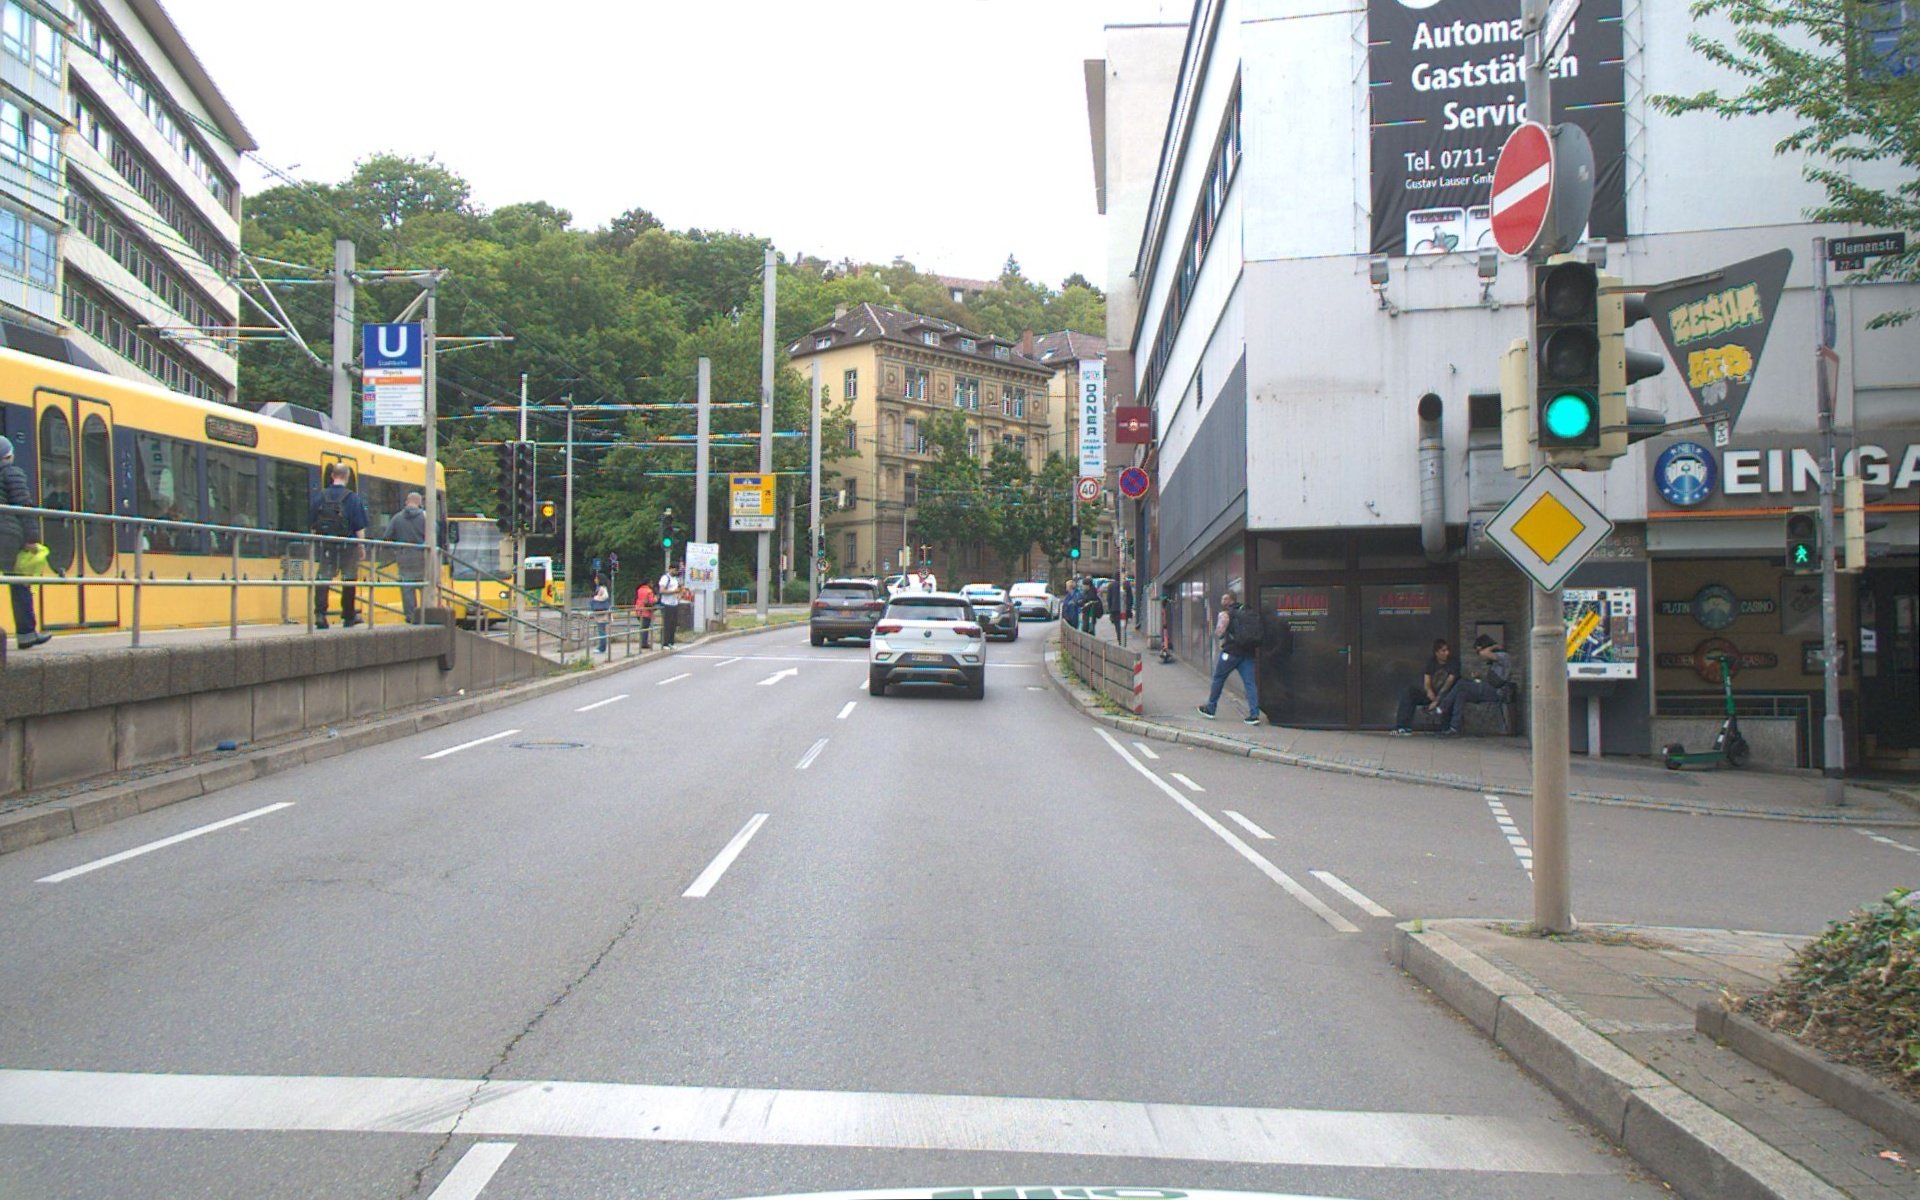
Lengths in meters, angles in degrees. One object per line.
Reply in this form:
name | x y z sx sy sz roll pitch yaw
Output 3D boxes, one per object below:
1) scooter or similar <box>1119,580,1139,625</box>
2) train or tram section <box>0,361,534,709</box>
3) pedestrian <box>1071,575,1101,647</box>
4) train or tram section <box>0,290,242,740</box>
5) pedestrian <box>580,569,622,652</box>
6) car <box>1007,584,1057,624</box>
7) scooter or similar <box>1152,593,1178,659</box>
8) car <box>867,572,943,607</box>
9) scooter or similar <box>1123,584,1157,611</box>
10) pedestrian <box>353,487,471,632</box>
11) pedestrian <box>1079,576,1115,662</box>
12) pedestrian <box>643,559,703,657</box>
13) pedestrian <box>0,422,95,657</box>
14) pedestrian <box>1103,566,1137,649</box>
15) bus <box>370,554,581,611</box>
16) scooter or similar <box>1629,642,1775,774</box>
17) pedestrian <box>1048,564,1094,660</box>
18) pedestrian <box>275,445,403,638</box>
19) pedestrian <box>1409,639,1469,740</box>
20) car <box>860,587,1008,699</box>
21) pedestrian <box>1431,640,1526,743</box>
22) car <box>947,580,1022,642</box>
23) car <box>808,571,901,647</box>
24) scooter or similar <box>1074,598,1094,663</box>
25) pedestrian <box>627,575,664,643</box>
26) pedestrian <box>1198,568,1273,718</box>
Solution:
scooter or similar | 5.636 0.081 55.145 0.654 1.501 1.179 0 0 6
train or tram section | -9.688 -0.916 25.443 2.823 3.727 14.473 -2 2 -2
pedestrian | 3.038 0.264 39.853 0.550 1.680 0.591 -5 0 3
train or tram section | -9.262 -0.589 11.245 2.824 3.727 14.227 -2 2 -2
pedestrian | -7.332 0.209 33.850 0.662 1.653 1.001 0 0 -2
car | 2.839 0.138 65.801 1.898 1.532 3.807 1 0 2
scooter or similar | 4.084 0.507 32.889 0.418 1.298 0.981 0 1 13
car | -3.479 -0.647 105.118 1.964 1.882 4.962 0 -3 42
scooter or similar | 8.009 -0.130 73.690 1.422 1.203 0.578 0 0 -25
pedestrian | -6.815 -0.491 20.640 1.094 1.710 1.041 0 -5 -1
pedestrian | 2.970 0.414 35.940 0.722 1.825 0.655 1 0 3
pedestrian | -6.377 0.187 36.751 0.945 2.103 1.032 -2 -4 18
pedestrian | -6.661 -0.417 11.671 0.762 1.612 0.665 0 0 -1
pedestrian | 3.608 0.157 37.315 0.711 1.840 0.654 1 0 3
bus | -27.482 -0.999 93.927 11.265 3.082 3.393 0 1 13
scooter or similar | 8.398 1.212 18.727 1.363 1.373 0.595 4 -1 -14
pedestrian | 2.491 0.265 37.272 0.927 2.098 0.779 3 0 3
pedestrian | -6.742 -0.604 18.033 0.910 2.004 1.233 0 -3 -1
pedestrian | 6.277 1.159 21.692 0.719 1.257 0.718 2 0 16
car | -0.325 0.609 25.875 1.897 1.594 4.048 1 0 5
pedestrian | 6.495 1.131 20.751 1.083 1.209 0.743 2 0 17
car | 0.733 0.292 46.617 1.863 1.601 3.836 2 0 4
car | -2.631 0.204 41.955 1.801 1.770 4.002 2 0 3
scooter or similar | 2.521 0.610 33.565 0.346 1.298 0.814 1 0 2
pedestrian | -7.093 0.205 37.273 0.564 1.490 0.676 -2 -4 18
pedestrian | 3.417 0.525 20.585 0.706 1.817 0.883 2 0 -3
